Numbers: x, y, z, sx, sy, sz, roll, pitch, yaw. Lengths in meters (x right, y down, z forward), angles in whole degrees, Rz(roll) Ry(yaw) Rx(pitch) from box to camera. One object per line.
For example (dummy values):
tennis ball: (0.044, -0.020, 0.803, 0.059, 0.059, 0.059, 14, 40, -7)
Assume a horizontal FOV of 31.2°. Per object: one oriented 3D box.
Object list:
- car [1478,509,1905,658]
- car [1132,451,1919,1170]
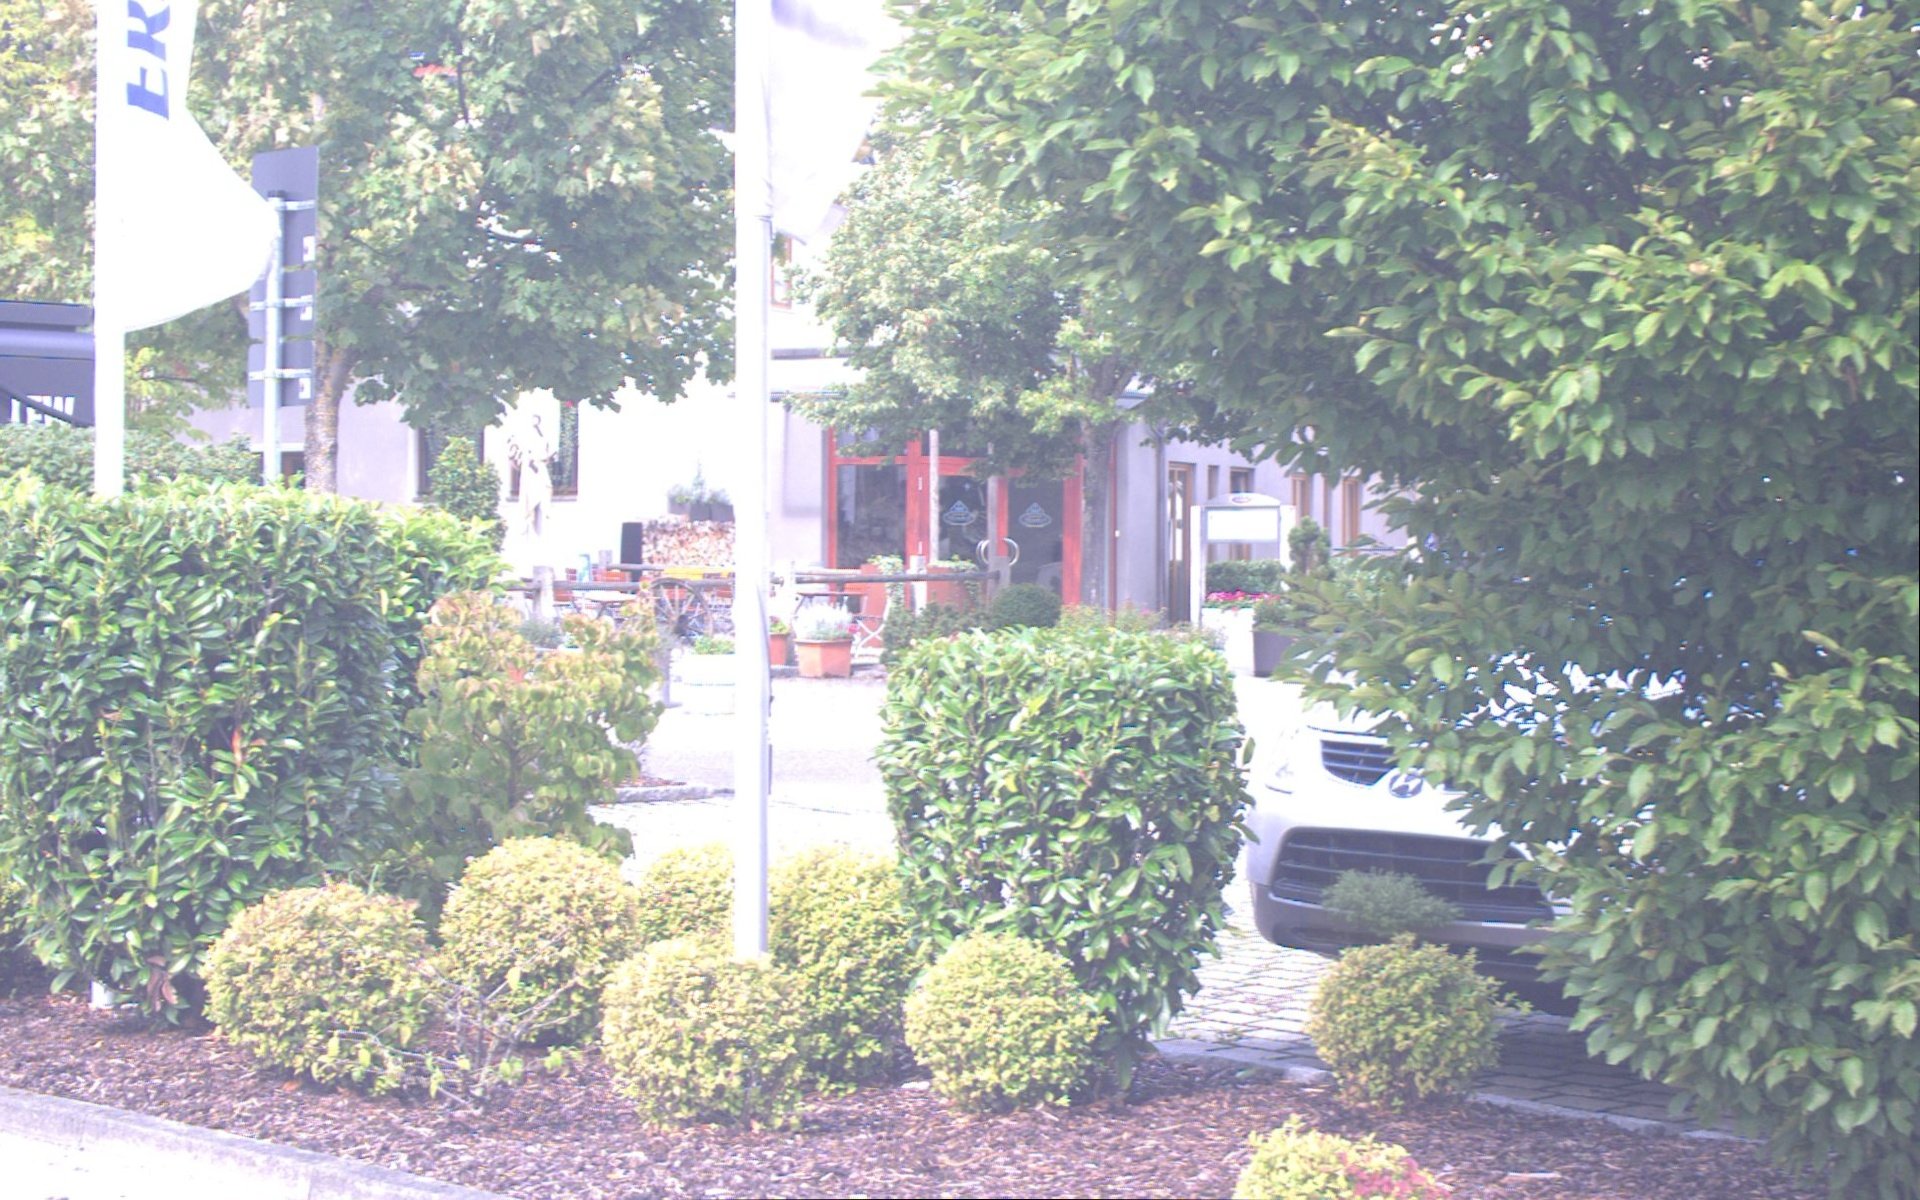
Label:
car: (8.826, -0.234, 41.896, 1.745, 1.705, 5.077, 0, 1, -40)
car: (2.946, 0.439, 10.224, 4.665, 1.690, 1.918, -2, 1, -36)
